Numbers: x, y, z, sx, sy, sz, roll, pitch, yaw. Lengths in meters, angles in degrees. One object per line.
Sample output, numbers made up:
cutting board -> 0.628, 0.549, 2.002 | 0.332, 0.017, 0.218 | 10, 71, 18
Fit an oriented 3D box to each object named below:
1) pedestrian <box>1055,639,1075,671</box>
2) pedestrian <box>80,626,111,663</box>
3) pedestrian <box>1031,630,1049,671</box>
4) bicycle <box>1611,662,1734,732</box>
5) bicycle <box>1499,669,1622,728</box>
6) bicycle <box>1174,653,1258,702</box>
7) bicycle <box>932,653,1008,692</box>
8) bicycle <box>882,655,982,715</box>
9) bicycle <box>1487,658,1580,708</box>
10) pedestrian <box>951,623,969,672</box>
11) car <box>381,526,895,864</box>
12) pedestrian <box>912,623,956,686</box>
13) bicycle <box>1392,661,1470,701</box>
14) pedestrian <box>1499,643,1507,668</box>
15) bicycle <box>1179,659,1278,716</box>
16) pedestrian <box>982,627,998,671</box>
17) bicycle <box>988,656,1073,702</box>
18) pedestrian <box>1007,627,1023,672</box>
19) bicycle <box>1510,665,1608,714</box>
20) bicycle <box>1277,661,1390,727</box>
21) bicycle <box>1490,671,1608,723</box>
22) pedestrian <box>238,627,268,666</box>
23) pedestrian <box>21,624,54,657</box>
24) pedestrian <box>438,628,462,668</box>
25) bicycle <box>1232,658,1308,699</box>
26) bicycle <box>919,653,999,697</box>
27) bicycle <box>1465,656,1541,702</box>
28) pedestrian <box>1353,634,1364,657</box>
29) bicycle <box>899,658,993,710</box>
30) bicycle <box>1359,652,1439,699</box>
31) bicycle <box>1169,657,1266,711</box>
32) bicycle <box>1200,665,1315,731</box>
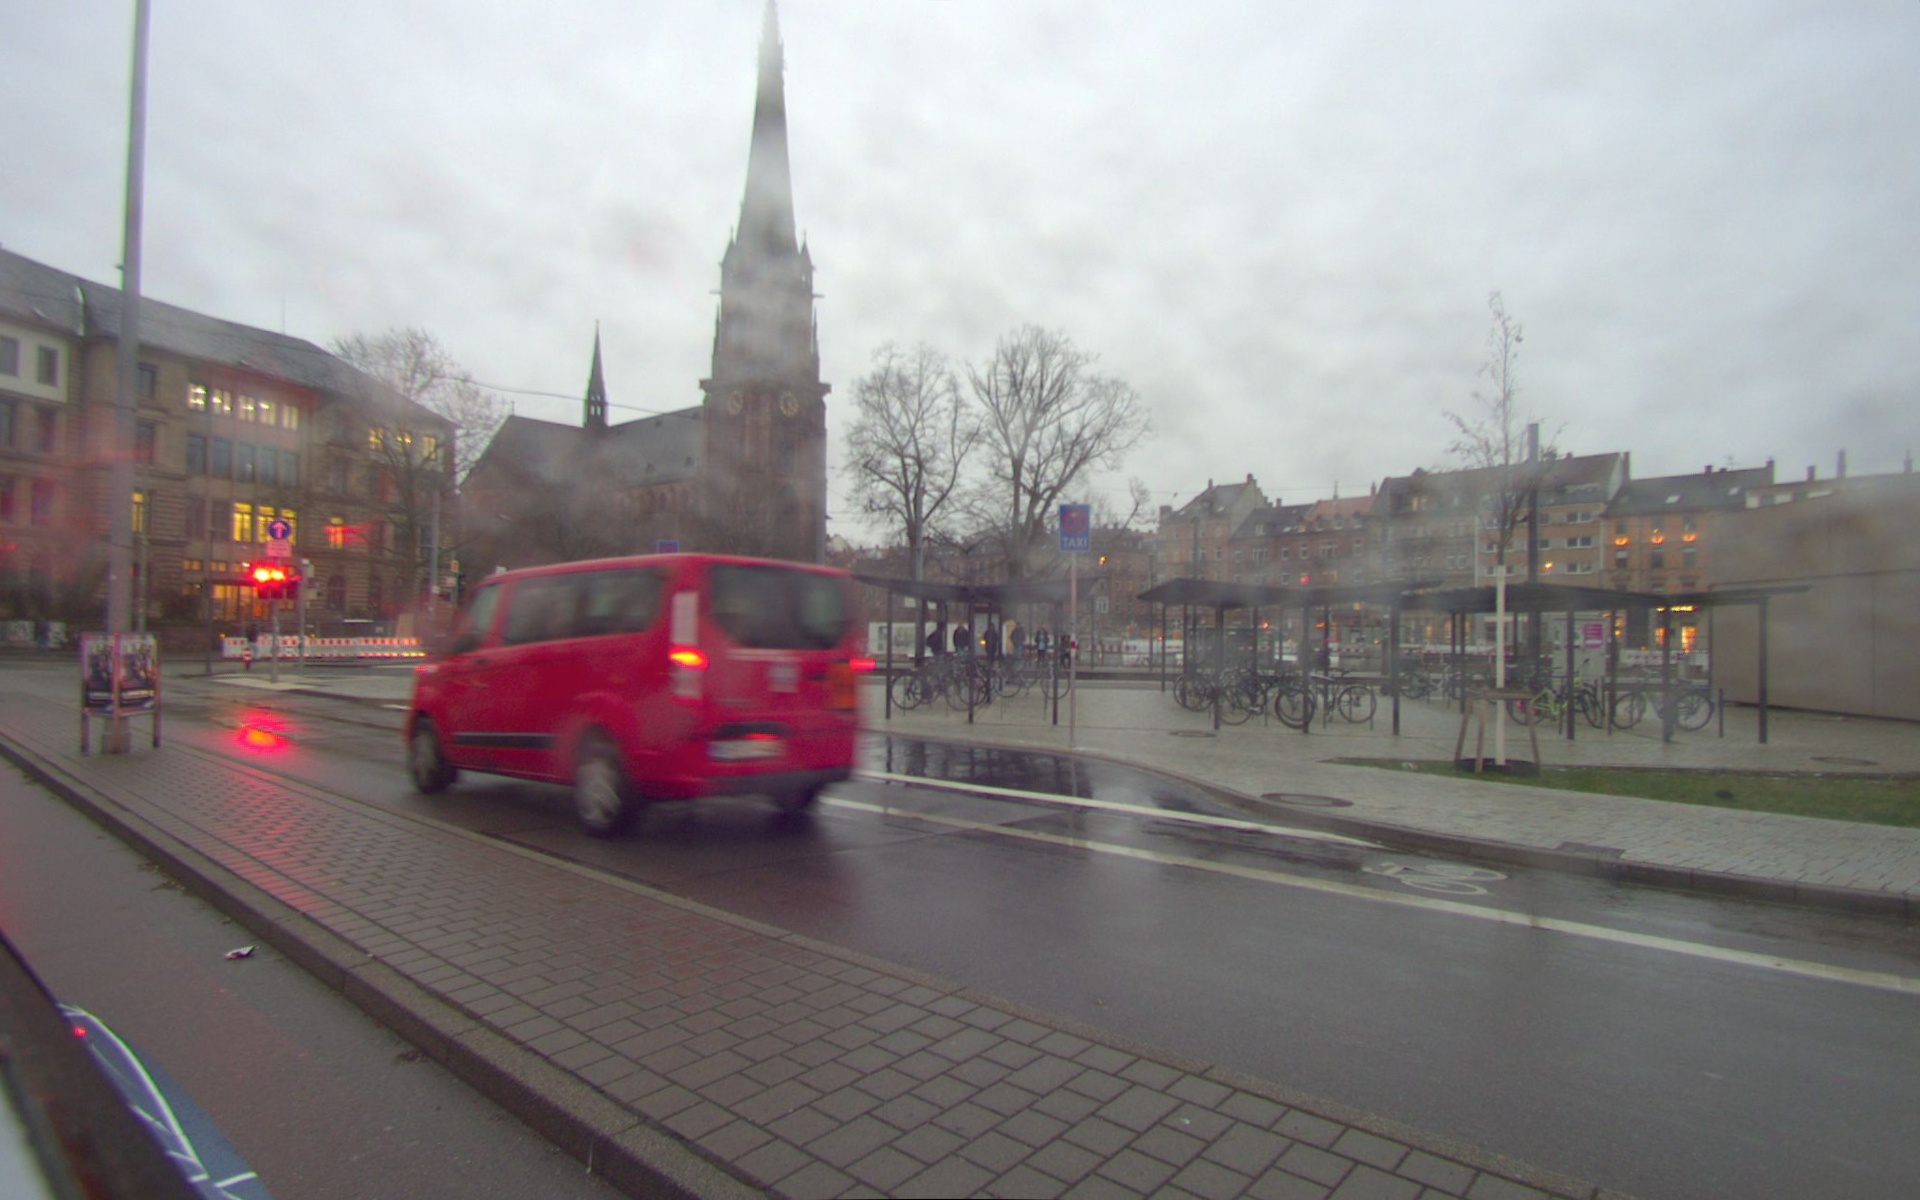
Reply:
pedestrian -> 3.978, 2.073, 38.323 | 0.610, 1.165, 0.806 | -1, 0, -1
pedestrian -> -43.118, 2.212, 50.470 | 0.885, 1.830, 0.674 | 1, -2, -1
pedestrian -> 3.031, 1.912, 38.331 | 0.580, 1.513, 0.675 | -1, 0, -1
bicycle -> 12.688, 1.725, 18.045 | 1.731, 1.165, 0.617 | 1, -1, 1
bicycle -> 11.125, 1.815, 18.783 | 1.905, 0.983, 0.473 | 1, -1, 11
bicycle -> 6.062, 1.830, 24.039 | 1.905, 1.078, 0.473 | 1, -1, 11
bicycle -> 0.269, 1.869, 26.125 | 1.905, 0.917, 0.473 | 1, -1, 11
bicycle -> -0.540, 1.654, 19.866 | 1.905, 1.078, 0.473 | 1, -1, 11
bicycle -> 13.251, 1.910, 23.417 | 1.810, 1.081, 0.474 | 1, -1, 8
pedestrian -> 0.001, 1.803, 38.577 | 0.619, 1.808, 0.672 | -1, 0, -1
car -> -2.886, 0.665, 8.501 | 4.640, 2.086, 1.904 | -1, -4, 40
pedestrian -> -0.729, 1.555, 28.935 | 1.056, 1.778, 1.008 | 0, -3, 10
bicycle -> 11.619, 1.992, 24.991 | 1.672, 0.898, 0.474 | 1, -1, 5
pedestrian -> 44.502, 4.571, 82.877 | 0.436, 2.029, 0.414 | 3, -4, -41
bicycle -> 5.443, 1.775, 20.617 | 1.905, 1.078, 0.473 | 1, -1, 11
pedestrian -> 1.146, 1.860, 38.650 | 0.556, 1.664, 0.540 | -1, 0, -1
bicycle -> 1.637, 1.822, 23.422 | 1.905, 0.993, 0.473 | 1, -1, 11
pedestrian -> 2.065, 1.857, 38.112 | 0.543, 1.648, 0.571 | -1, 0, -1
bicycle -> 12.899, 1.920, 21.830 | 1.751, 0.963, 0.473 | 1, -1, 11
bicycle -> 6.944, 1.735, 18.866 | 1.905, 1.129, 0.473 | 1, -1, 11
bicycle -> 11.366, 1.863, 19.571 | 1.905, 0.898, 0.473 | 1, -1, 11
pedestrian -> -35.463, 2.325, 50.785 | 0.960, 1.915, 0.674 | 1, -2, -1
pedestrian -> -49.362, 2.150, 54.155 | 0.916, 1.737, 0.826 | 0, -3, 4
pedestrian -> -21.996, 2.059, 43.657 | 0.760, 1.673, 1.212 | -1, 0, -19
bicycle -> 7.660, 1.943, 25.069 | 1.729, 0.946, 0.474 | 1, -1, 7
bicycle -> -0.017, 1.829, 24.867 | 1.905, 0.993, 0.473 | 1, -1, 11
bicycle -> 13.231, 1.917, 24.664 | 1.551, 1.044, 0.521 | 1, -1, 1
pedestrian -> 36.172, 4.118, 91.949 | 0.579, 2.029, 0.707 | 3, -4, -40
bicycle -> -0.289, 1.734, 21.103 | 1.905, 0.993, 0.473 | 1, -1, 11
bicycle -> 11.182, 1.926, 25.801 | 1.780, 1.116, 0.473 | 1, -1, 11
bicycle -> 5.429, 1.774, 21.400 | 1.899, 1.078, 0.474 | 1, -1, 2
bicycle -> 5.255, 1.721, 17.955 | 1.905, 1.078, 0.473 | 1, -1, 11
